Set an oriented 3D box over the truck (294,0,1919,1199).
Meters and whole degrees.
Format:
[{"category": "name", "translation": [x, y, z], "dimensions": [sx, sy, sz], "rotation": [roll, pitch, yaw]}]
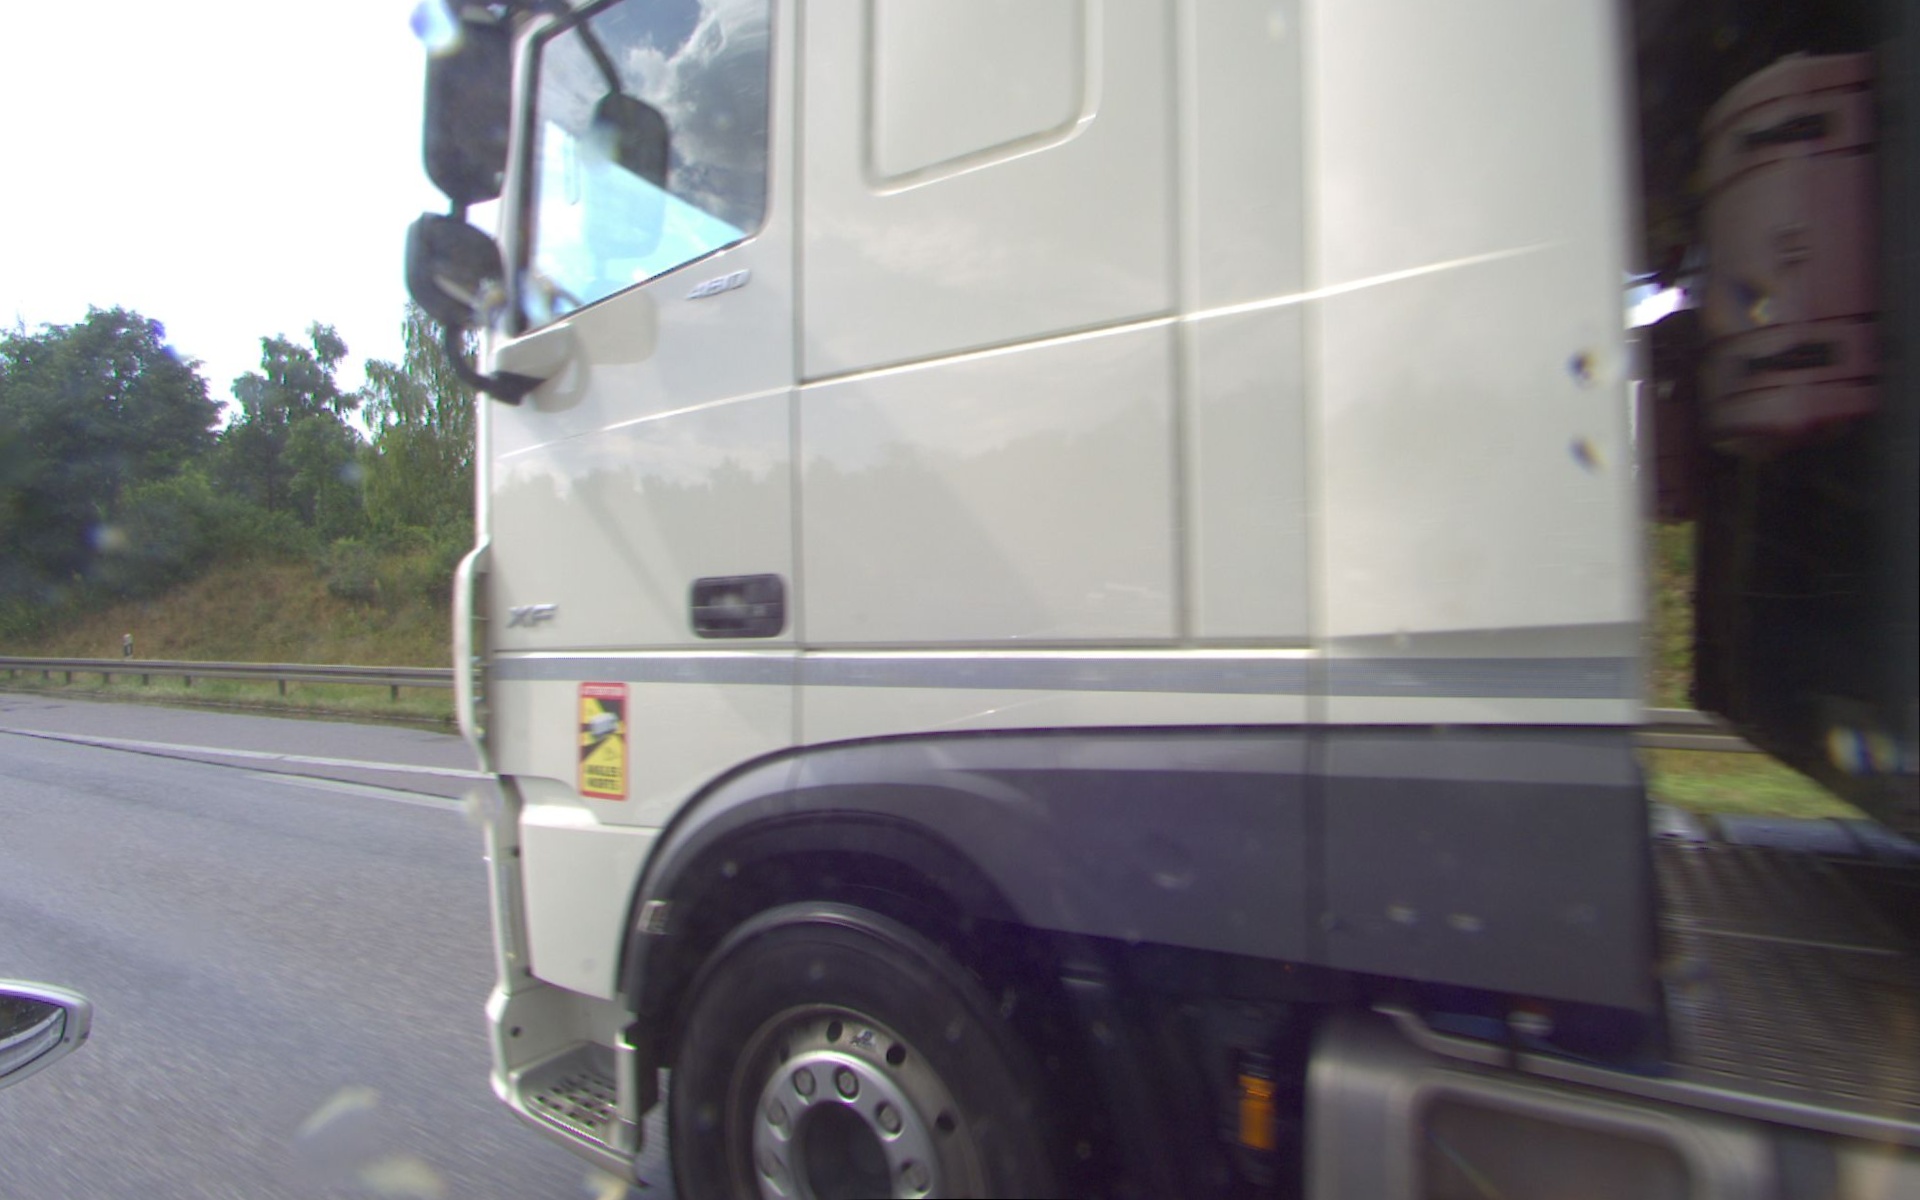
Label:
[{"category": "truck", "translation": [2.013, -0.496, 2.096], "dimensions": [6.302, 3.940, 3.280], "rotation": [-1, -2, 31]}]
